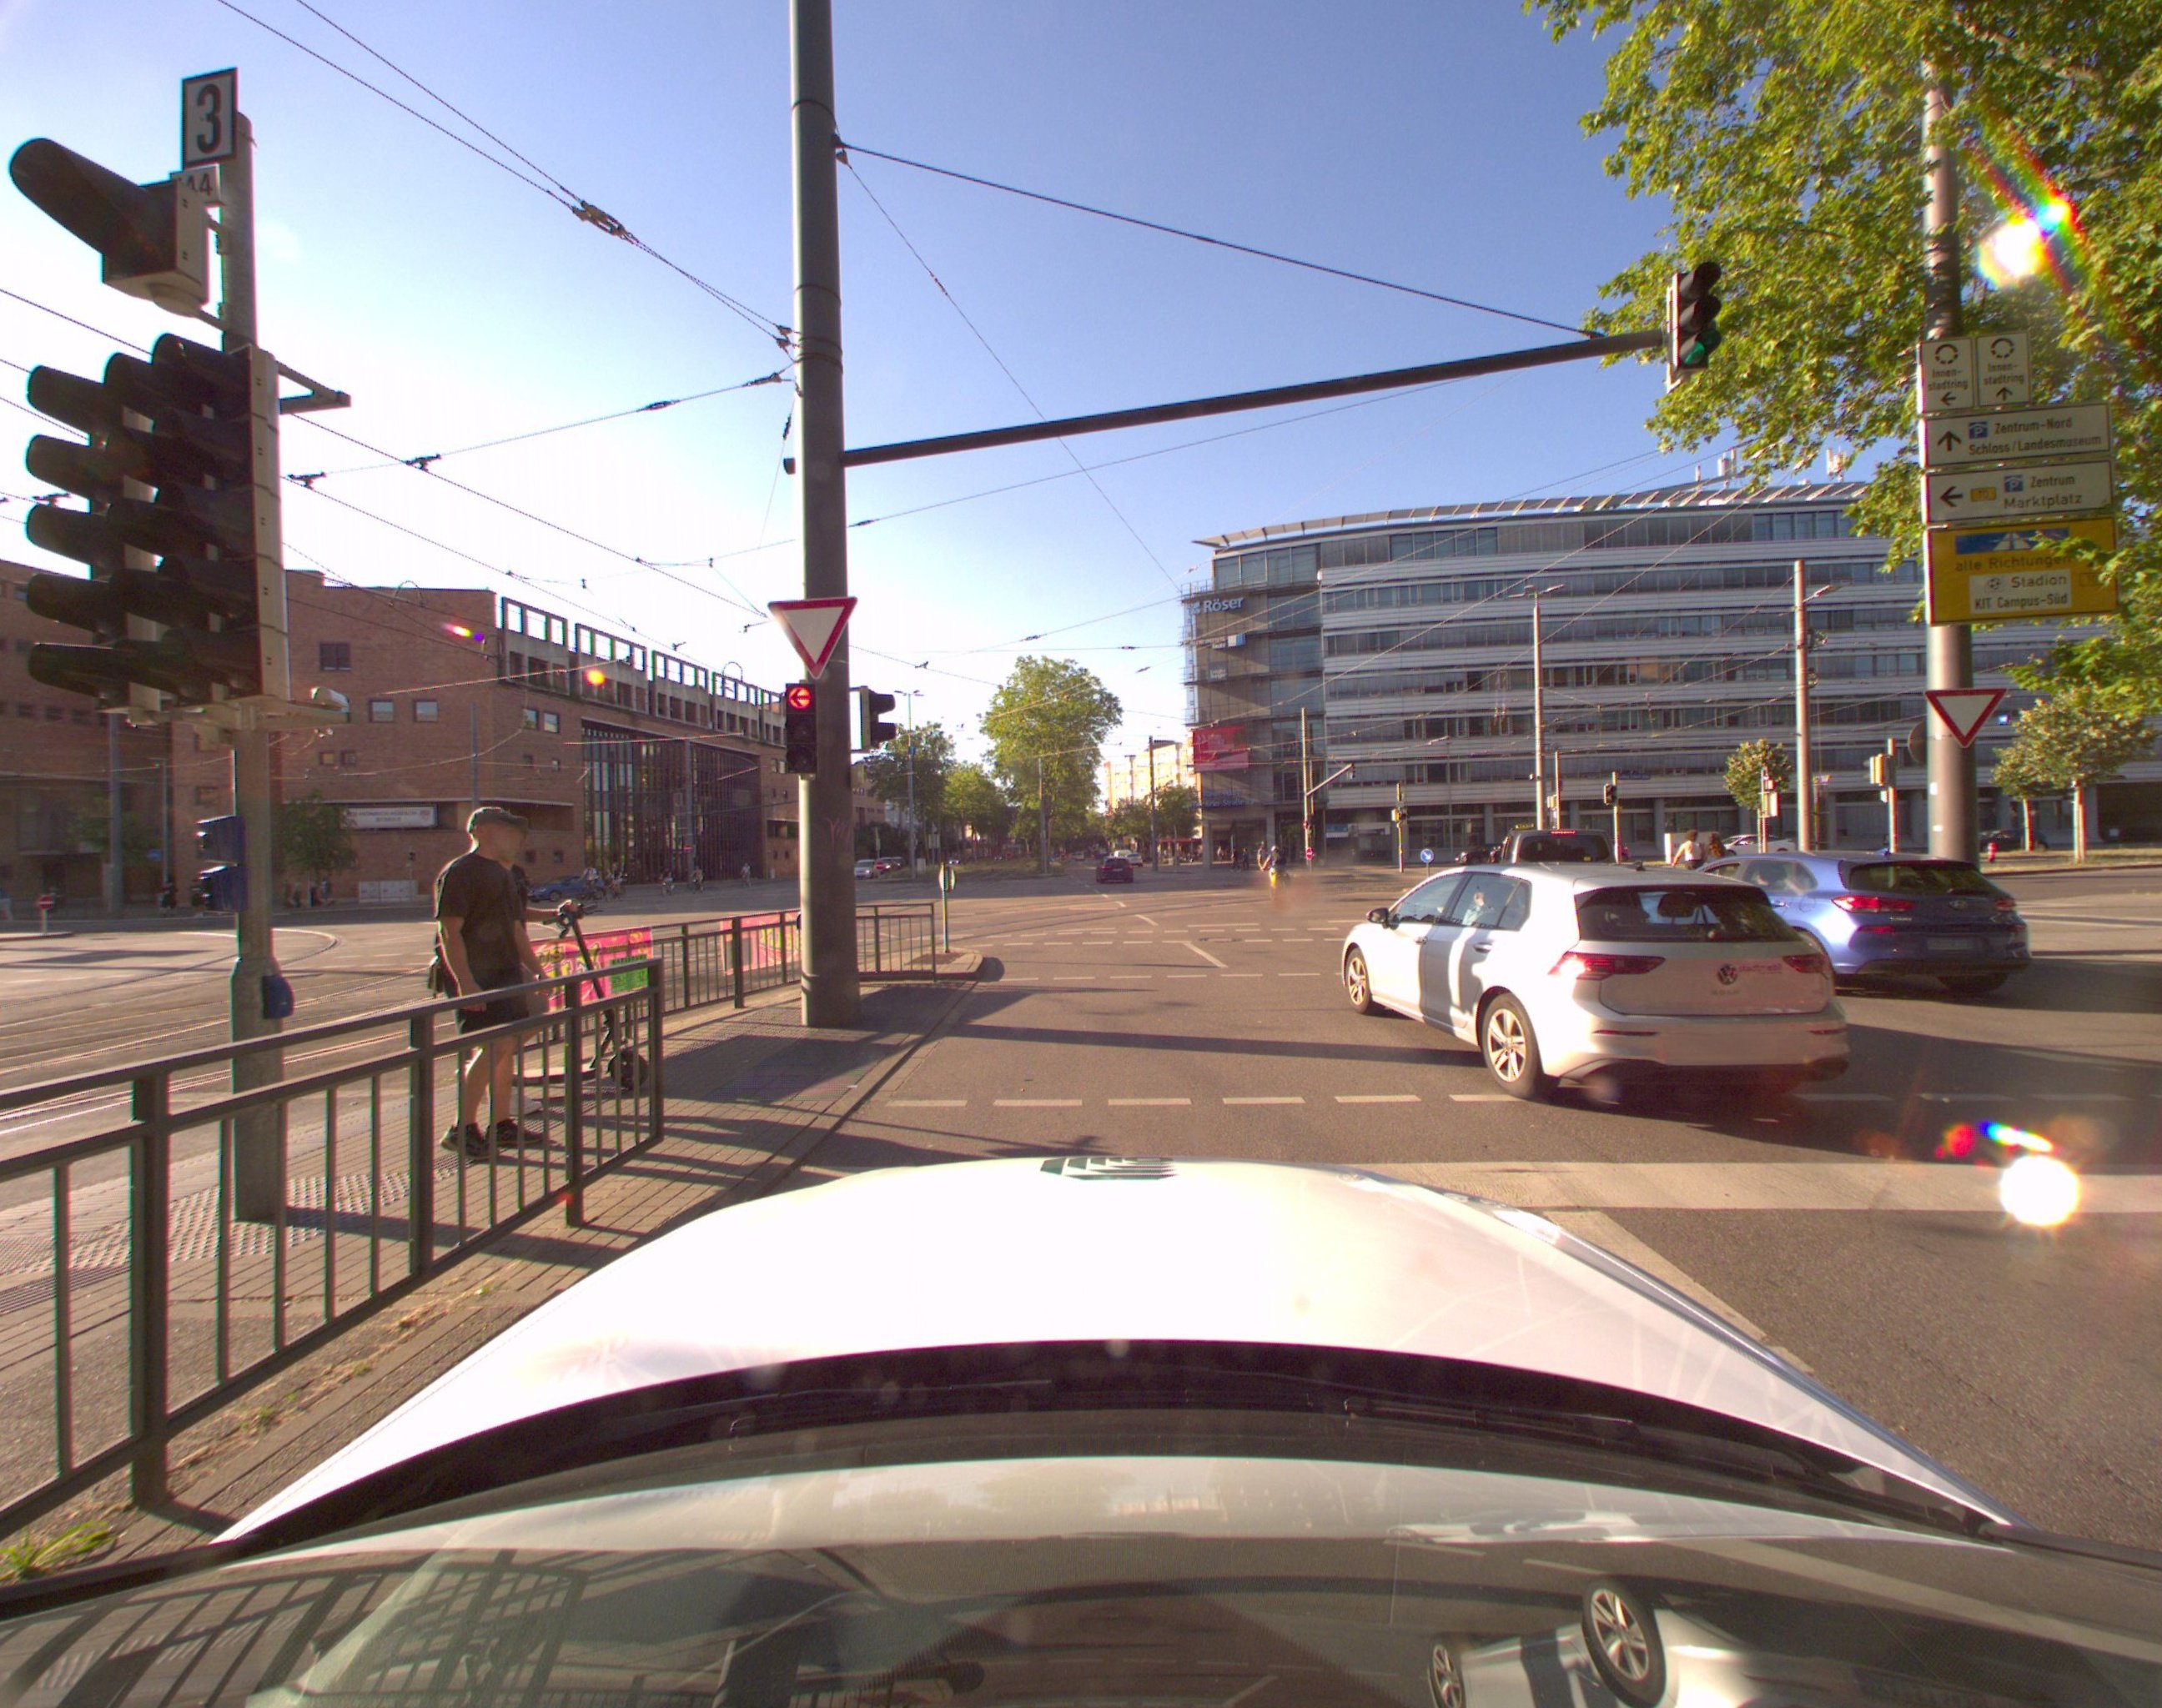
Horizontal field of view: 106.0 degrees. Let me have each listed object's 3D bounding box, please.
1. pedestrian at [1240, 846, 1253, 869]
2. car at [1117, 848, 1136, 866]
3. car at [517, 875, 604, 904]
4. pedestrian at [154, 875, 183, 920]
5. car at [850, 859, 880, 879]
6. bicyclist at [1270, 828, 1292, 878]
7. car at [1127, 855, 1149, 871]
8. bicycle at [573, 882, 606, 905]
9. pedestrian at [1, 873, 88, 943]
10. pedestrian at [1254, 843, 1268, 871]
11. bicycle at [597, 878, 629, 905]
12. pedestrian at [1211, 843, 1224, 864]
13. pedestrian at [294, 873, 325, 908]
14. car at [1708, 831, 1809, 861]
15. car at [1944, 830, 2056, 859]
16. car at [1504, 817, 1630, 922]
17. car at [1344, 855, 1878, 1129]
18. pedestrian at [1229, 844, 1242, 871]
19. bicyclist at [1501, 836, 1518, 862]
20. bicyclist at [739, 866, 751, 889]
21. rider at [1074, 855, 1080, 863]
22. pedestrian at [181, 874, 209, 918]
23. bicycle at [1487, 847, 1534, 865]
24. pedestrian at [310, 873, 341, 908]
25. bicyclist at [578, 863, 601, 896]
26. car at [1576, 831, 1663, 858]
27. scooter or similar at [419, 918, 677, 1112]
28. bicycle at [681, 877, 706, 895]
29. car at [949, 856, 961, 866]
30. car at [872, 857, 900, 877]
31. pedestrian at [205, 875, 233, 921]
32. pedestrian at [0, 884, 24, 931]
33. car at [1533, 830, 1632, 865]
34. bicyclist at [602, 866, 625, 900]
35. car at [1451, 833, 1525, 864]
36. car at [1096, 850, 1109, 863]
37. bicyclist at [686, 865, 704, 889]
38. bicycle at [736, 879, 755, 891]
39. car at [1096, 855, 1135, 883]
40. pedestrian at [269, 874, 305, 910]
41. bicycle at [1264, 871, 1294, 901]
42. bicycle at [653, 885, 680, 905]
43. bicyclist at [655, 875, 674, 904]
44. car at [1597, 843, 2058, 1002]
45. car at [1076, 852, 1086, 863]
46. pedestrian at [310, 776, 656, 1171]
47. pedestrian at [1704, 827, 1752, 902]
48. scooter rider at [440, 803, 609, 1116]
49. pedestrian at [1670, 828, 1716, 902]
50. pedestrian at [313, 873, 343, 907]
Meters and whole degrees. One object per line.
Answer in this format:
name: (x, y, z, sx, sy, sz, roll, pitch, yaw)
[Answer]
pedestrian: (12.299, 0.255, 60.531, 0.866, 1.707, 0.794, 0, -1, 1)
car: (4.961, 0.339, 89.875, 1.986, 2.014, 4.001, 0, -1, 2)
car: (-28.640, 1.954, 44.932, 1.567, 1.376, 3.736, -2, 0, 23)
pedestrian: (-42.095, 1.982, 37.580, 0.615, 2.013, 0.726, -2, 0, -28)
car: (-17.979, 1.226, 67.895, 1.618, 1.577, 3.994, -2, 0, -4)
bicyclist: (5.835, -0.031, 23.818, 0.485, 1.439, 0.616, 1, -1, 1)
car: (5.782, 0.925, 82.814, 2.022, 1.596, 4.001, 0, -1, 2)
bicycle: (-23.572, 1.865, 39.073, 0.653, 0.998, 1.895, -2, 0, -9)
pedestrian: (-30.891, 1.579, 24.298, 1.029, 2.014, 1.208, 0, -1, 1)
pedestrian: (13.095, 0.196, 59.172, 0.866, 2.014, 0.794, 0, -1, 1)
bicycle: (-22.664, 1.805, 39.442, 0.685, 1.142, 2.102, -2, 2, -12)
pedestrian: (14.391, -0.047, 85.682, 1.305, 2.190, 1.173, 0, -1, 8)
pedestrian: (-47.098, 2.243, 49.719, 1.003, 2.052, 0.850, -2, 0, -1)
car: (37.592, -0.405, 45.273, 3.968, 1.596, 1.884, 0, -1, 5)
car: (52.469, -0.539, 46.563, 4.097, 1.596, 1.884, 0, -1, 5)
car: (10.182, 0.258, 17.196, 1.982, 1.896, 4.913, -1, 0, 30)
car: (3.448, 0.739, 6.325, 1.740, 1.418, 4.004, -1, 0, 4)
pedestrian: (11.469, 0.244, 60.389, 0.846, 2.014, 0.708, 0, -1, 1)
bicyclist: (25.777, -0.291, 48.963, 0.660, 1.503, 0.614, -2, 0, 7)
bicyclist: (-24.011, 1.664, 58.168, 0.585, 1.625, 0.514, -2, 0, -3)
rider: (-1.049, 1.345, 211.199, 1.268, 2.014, 0.954, 0, -1, -5)
pedestrian: (-41.371, 1.957, 38.037, 0.615, 2.013, 0.726, -2, 0, -28)
bicycle: (25.807, 0.125, 48.974, 2.397, 1.022, 0.638, -2, 0, 6)
pedestrian: (-46.150, 2.234, 49.771, 1.003, 2.052, 0.850, -2, 0, -1)
bicyclist: (-23.588, 1.219, 39.127, 0.660, 1.574, 0.756, -2, 0, -10)
car: (32.041, -0.551, 48.572, 3.966, 1.552, 1.800, 0, -1, 6)
scooter or similar: (-3.350, 0.994, 5.184, 1.196, 1.081, 0.649, -2, 0, 5)
bicycle: (-24.113, 1.975, 50.719, 0.650, 1.050, 2.010, -1, 0, -3)
car: (-20.469, 1.134, 132.339, 1.673, 1.607, 3.994, 0, -1, -4)
car: (-18.079, 1.194, 75.510, 1.819, 1.790, 3.994, -2, 0, -4)
pedestrian: (-39.242, 1.992, 37.086, 0.615, 2.013, 0.726, -2, 0, -29)
pedestrian: (-46.648, 2.300, 35.226, 0.782, 1.983, 0.751, -2, 0, -1)
car: (27.597, -0.369, 44.897, 4.234, 1.723, 1.886, -2, 0, 4)
bicyclist: (-22.717, 1.407, 39.581, 0.682, 1.560, 0.755, -2, 2, -13)
car: (27.255, -0.370, 54.574, 3.972, 2.014, 2.001, 0, -1, 2)
car: (3.328, 0.343, 126.826, 1.986, 2.014, 4.001, 0, -1, 2)
bicyclist: (-24.131, 1.422, 50.941, 0.652, 1.474, 1.031, -1, -1, -3)
bicycle: (-23.999, 2.183, 58.230, 0.588, 0.771, 1.966, -2, 0, -2)
car: (1.840, 0.796, 44.206, 1.759, 1.404, 4.293, -1, 0, -2)
pedestrian: (-46.742, 2.218, 47.965, 1.155, 2.013, 0.910, -2, 0, -2)
bicycle: (5.823, 0.934, 24.007, 0.489, 0.788, 1.862, -1, 0, 2)
bicycle: (-23.870, 2.357, 46.910, 0.692, 0.998, 1.898, -2, 0, -5)
bicyclist: (-23.863, 2.029, 46.658, 0.660, 1.569, 0.757, -2, 0, -6)
car: (8.300, 0.637, 9.716, 1.741, 1.459, 4.214, -1, 0, 2)
car: (0.007, 0.758, 166.959, 1.985, 2.014, 4.001, 0, -4, 3)
pedestrian: (-3.128, 0.590, 4.366, 1.161, 1.884, 0.856, -2, 0, 6)
pedestrian: (15.603, 0.239, 19.662, 0.677, 1.759, 0.746, -2, 0, 22)
scooter rider: (-3.526, 0.637, 5.204, 0.563, 1.853, 0.681, -2, -2, 6)
pedestrian: (14.947, 0.265, 19.915, 0.671, 1.759, 0.746, -2, 0, 22)
pedestrian: (-47.072, 2.249, 50.893, 1.003, 2.052, 0.850, -2, 0, -1)
